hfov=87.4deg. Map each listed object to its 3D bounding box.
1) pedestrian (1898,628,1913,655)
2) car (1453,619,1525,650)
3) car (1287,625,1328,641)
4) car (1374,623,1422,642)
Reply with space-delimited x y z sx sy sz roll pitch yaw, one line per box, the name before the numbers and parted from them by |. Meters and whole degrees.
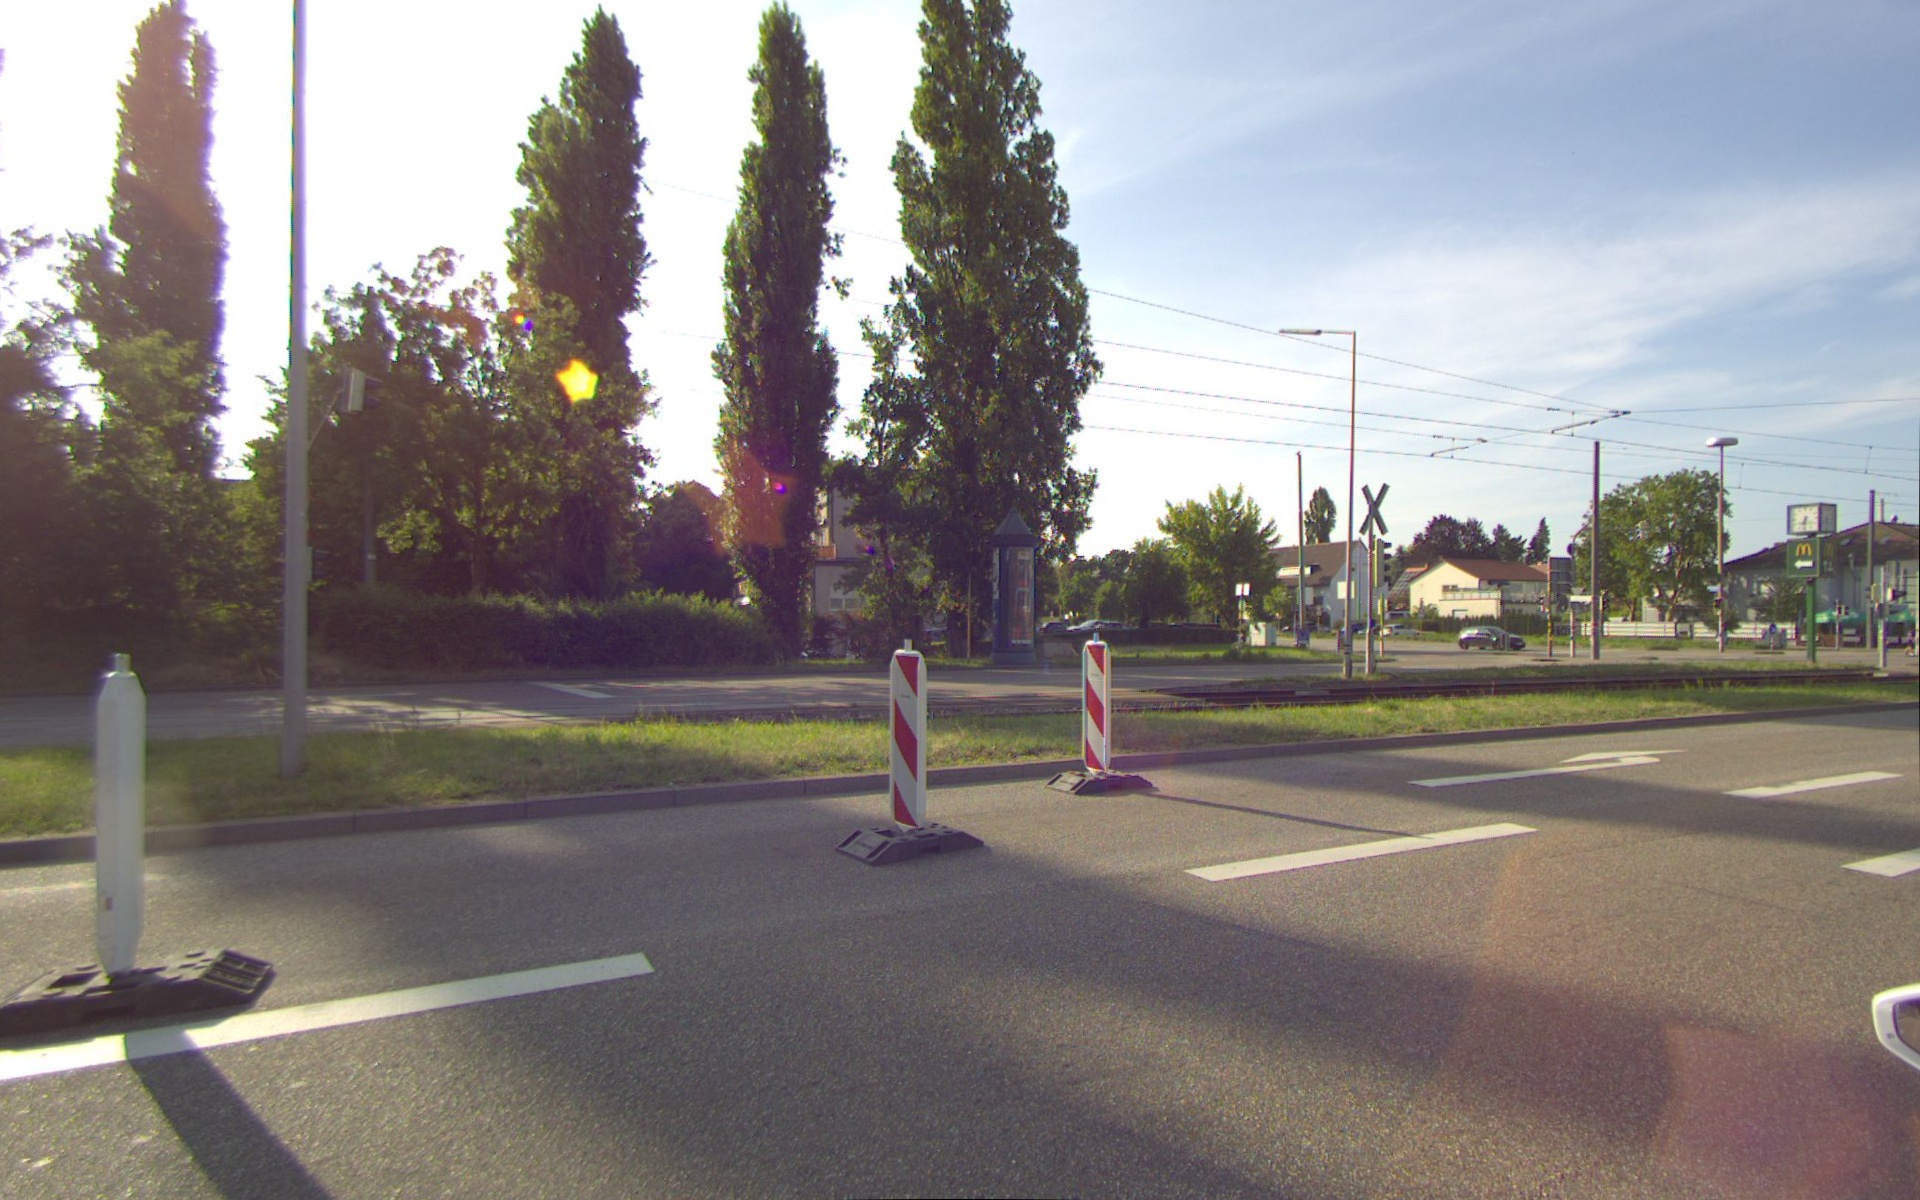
pedestrian | 56.181 2.473 59.690 0.533 1.620 0.510 1 -1 -27
car | 33.068 2.137 62.909 1.498 1.816 3.977 1 -1 -24
car | 35.010 3.313 101.387 1.967 1.505 3.986 0 -1 -16
car | 43.990 3.238 100.814 4.155 1.706 1.991 2 0 -20
